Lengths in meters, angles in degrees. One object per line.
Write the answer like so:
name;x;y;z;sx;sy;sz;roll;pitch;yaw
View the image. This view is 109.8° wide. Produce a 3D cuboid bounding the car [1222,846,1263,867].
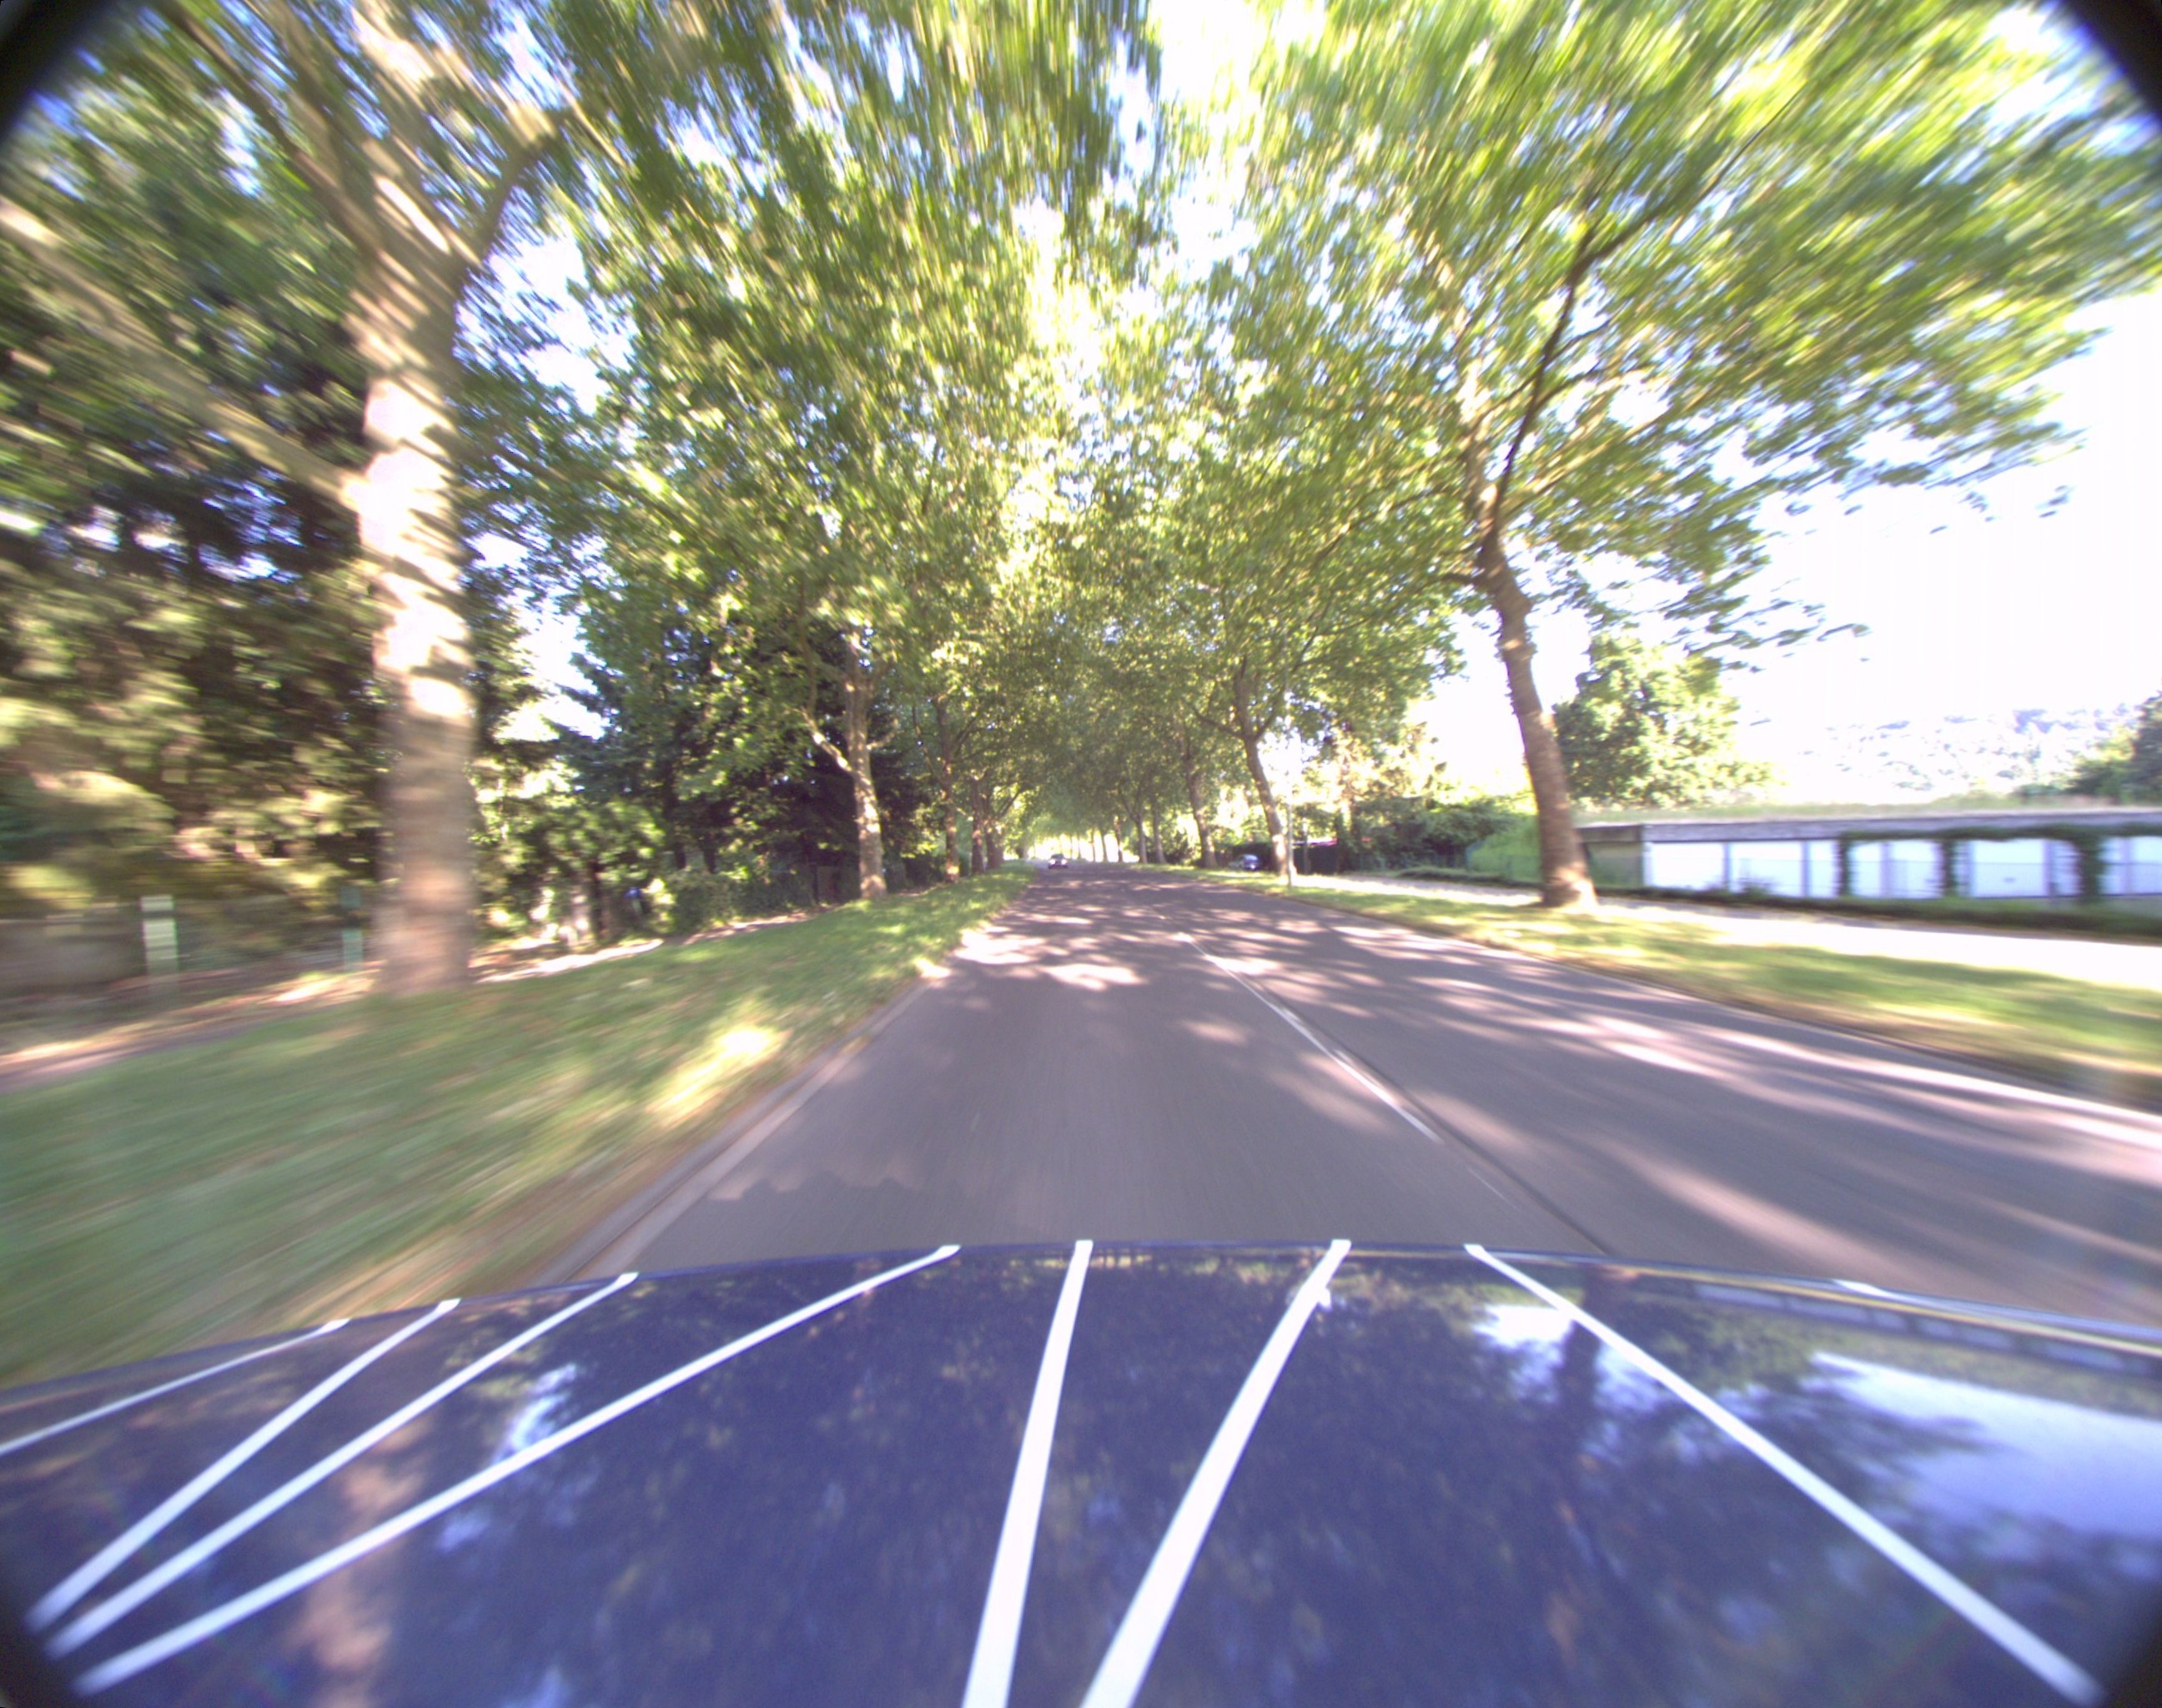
car;11.861;0.162;55.887;1.814;1.521;3.997;-1;1;-6
